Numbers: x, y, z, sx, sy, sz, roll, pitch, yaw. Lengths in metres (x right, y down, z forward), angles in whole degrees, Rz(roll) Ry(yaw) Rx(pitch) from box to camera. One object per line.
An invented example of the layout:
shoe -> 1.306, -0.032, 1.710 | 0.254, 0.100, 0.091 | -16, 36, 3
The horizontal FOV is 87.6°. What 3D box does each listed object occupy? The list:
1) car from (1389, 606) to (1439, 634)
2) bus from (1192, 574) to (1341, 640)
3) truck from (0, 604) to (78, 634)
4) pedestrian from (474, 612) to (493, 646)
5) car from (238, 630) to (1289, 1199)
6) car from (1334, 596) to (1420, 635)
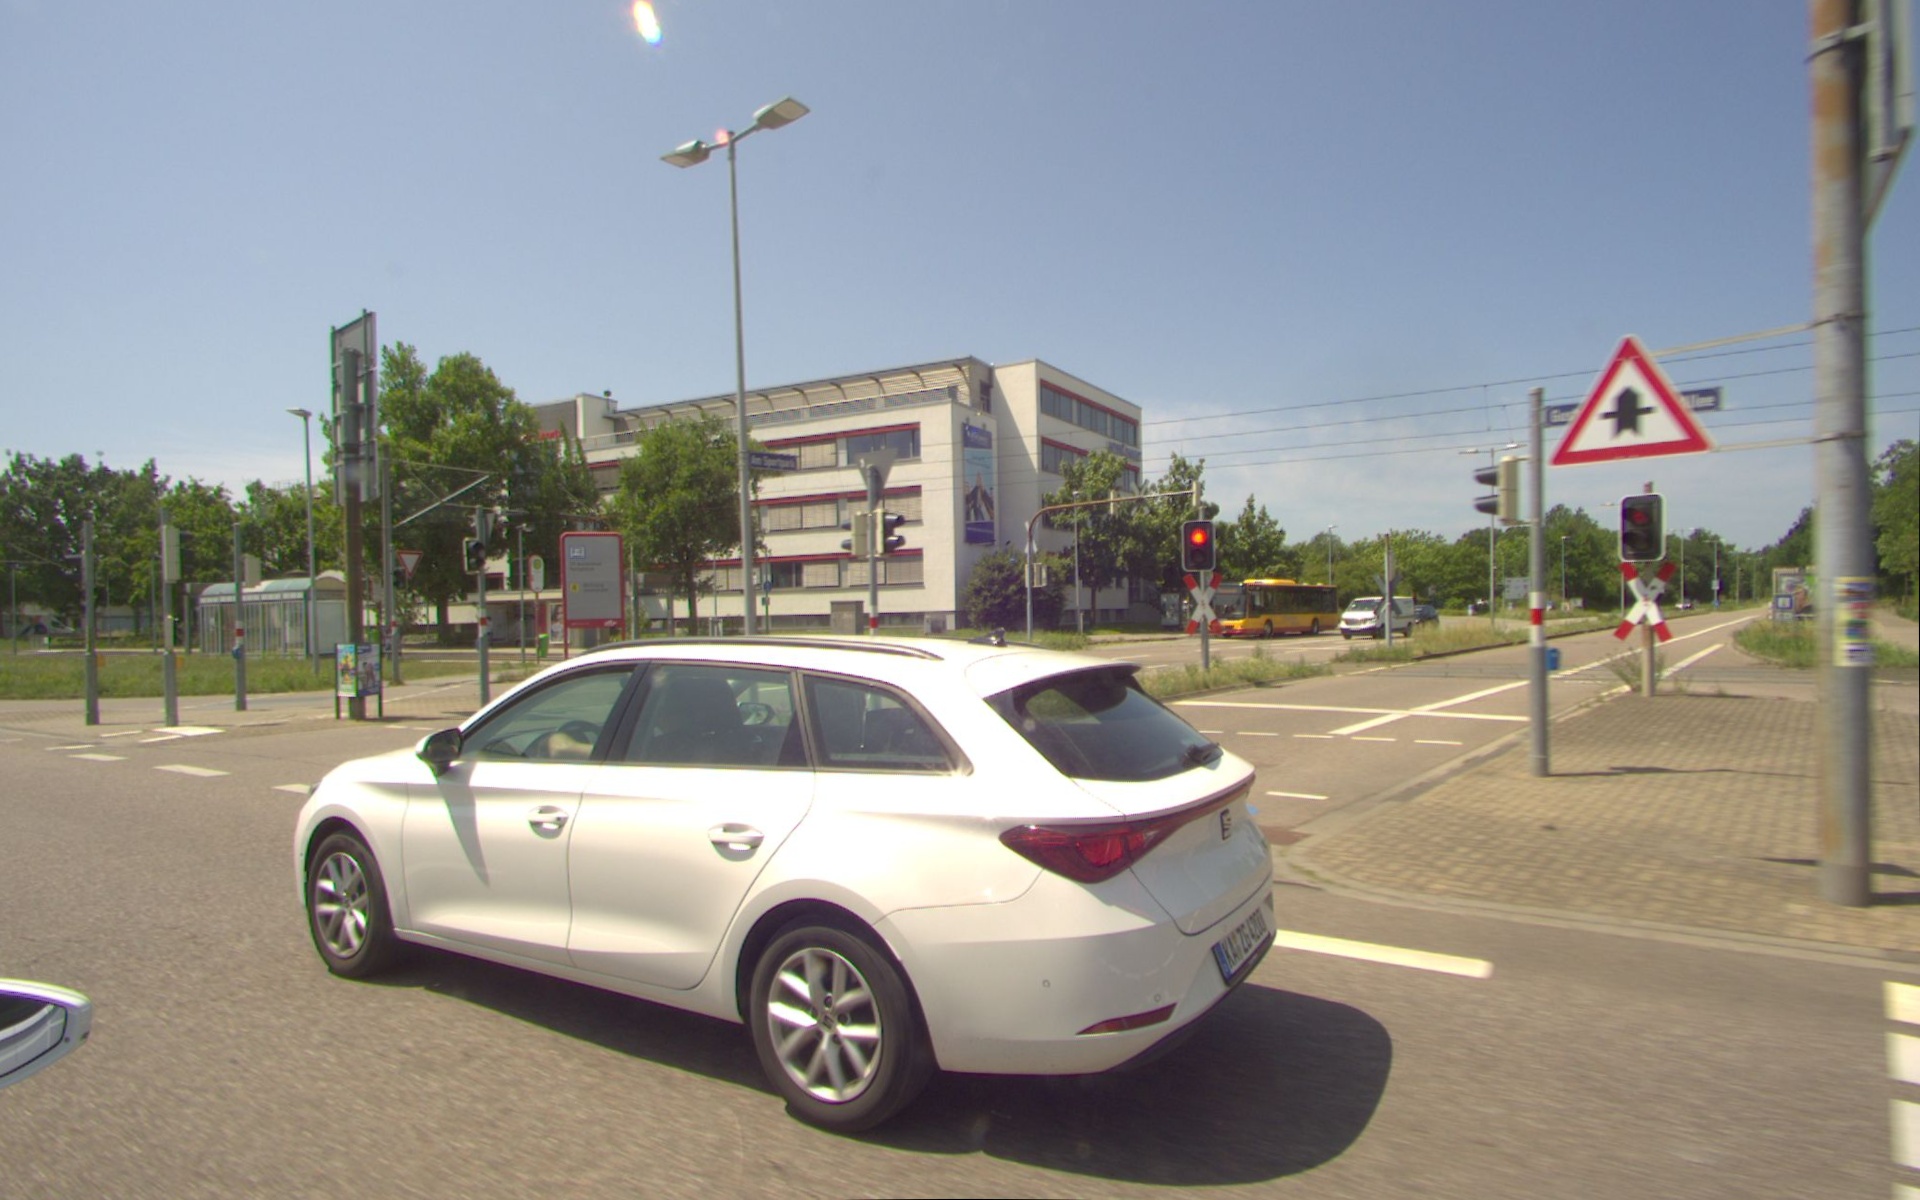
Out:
car -> 27.273, 1.184, 60.114 | 1.656, 1.600, 3.966 | 0, -1, 42
bus -> 16.765, 0.446, 53.948 | 2.809, 3.159, 11.976 | -2, -2, 42
truck -> -96.229, 1.940, 104.512 | 2.283, 2.881, 5.837 | -1, 1, 26
pedestrian -> -23.286, 1.408, 48.934 | 0.681, 1.628, 0.550 | -2, -2, 34
car -> -1.040, 0.849, 4.253 | 4.385, 1.408, 1.680 | -1, -1, 31
car -> 19.962, 0.796, 47.832 | 5.021, 1.750, 1.812 | 2, -3, -42
